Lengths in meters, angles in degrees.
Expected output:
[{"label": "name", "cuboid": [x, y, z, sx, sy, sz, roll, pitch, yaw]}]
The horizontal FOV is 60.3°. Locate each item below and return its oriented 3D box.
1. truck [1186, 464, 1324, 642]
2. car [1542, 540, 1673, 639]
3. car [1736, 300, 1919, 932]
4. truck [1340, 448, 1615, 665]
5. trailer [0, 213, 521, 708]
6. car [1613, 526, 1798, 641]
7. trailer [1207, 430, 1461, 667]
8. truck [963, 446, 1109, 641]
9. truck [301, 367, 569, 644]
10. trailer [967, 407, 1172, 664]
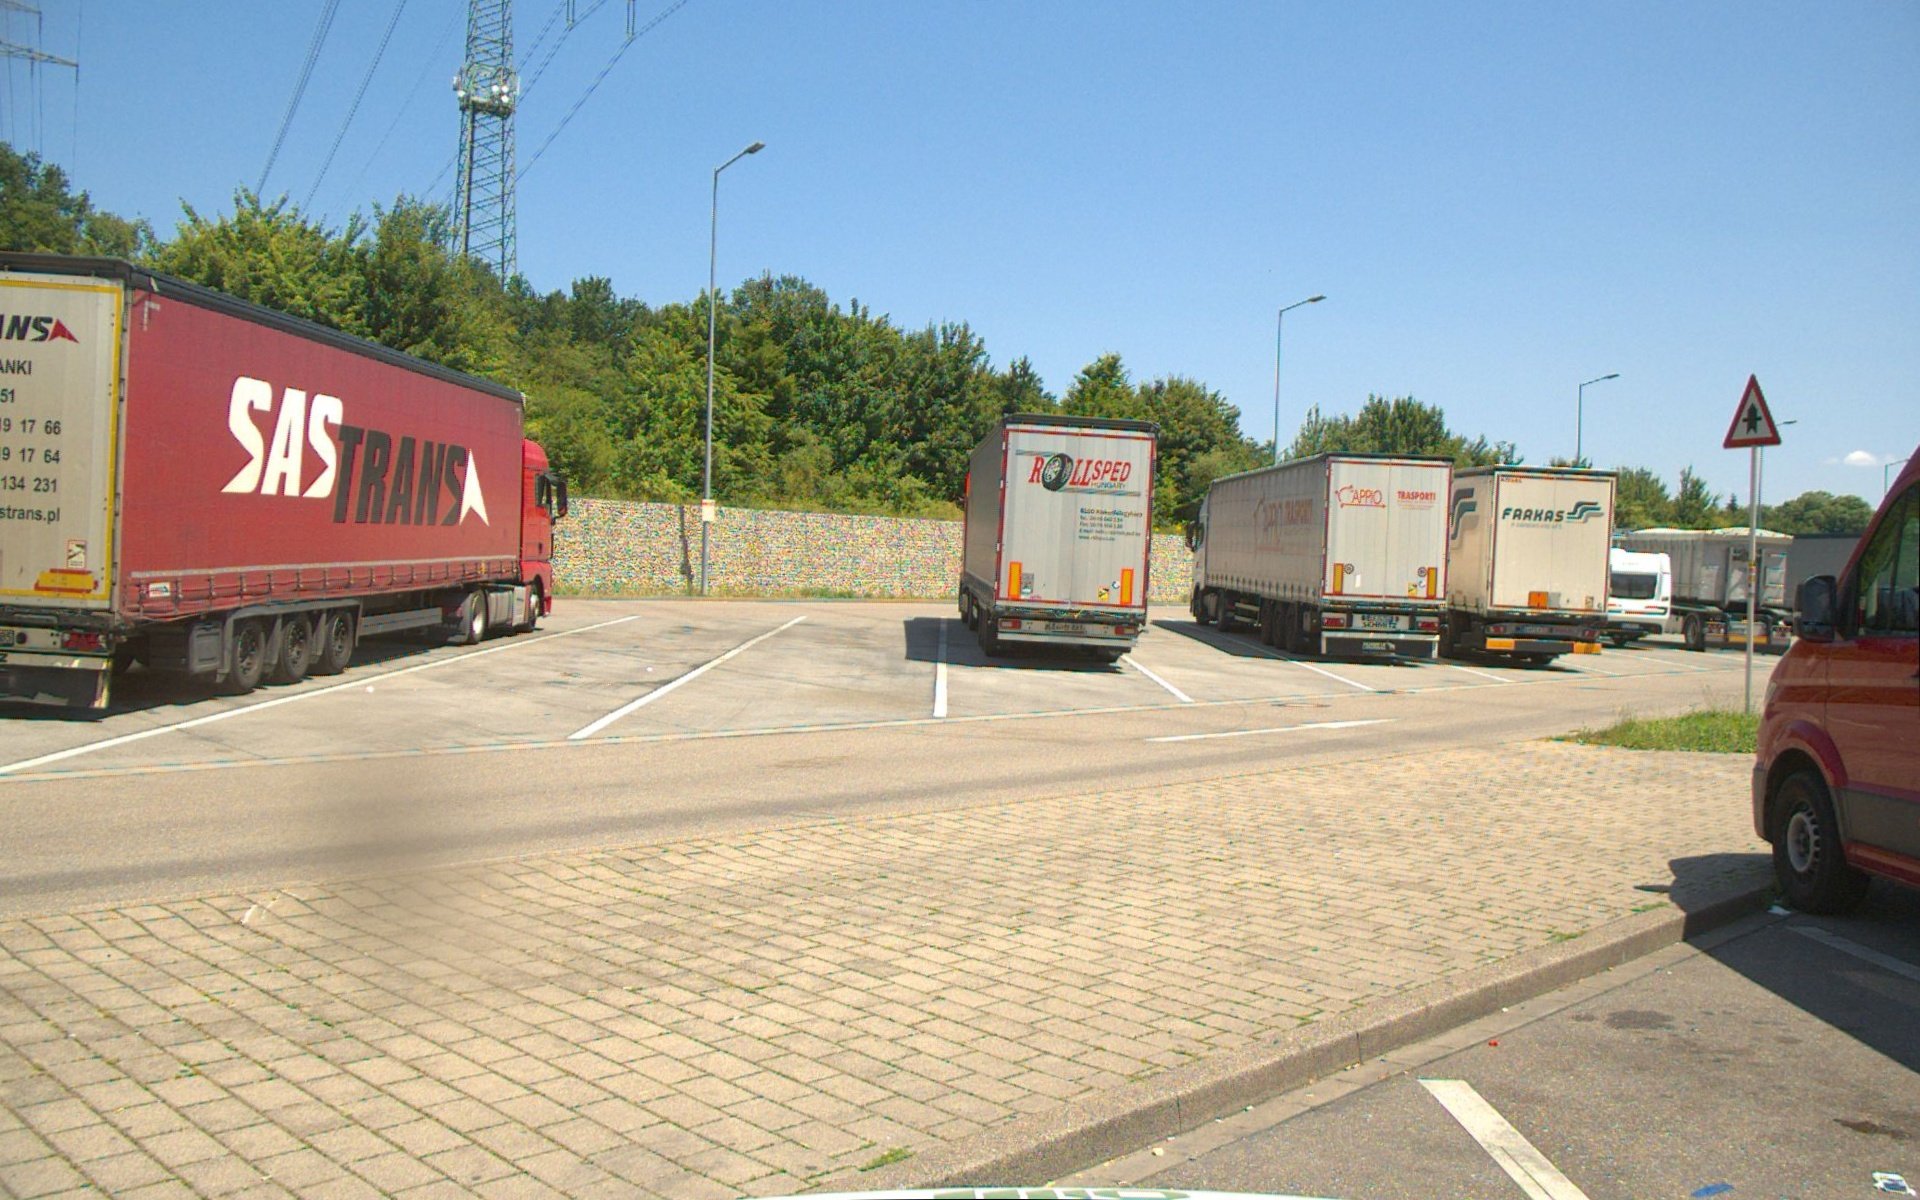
[{"label": "truck", "cuboid": [8.010, -1.263, 45.582, 2.607, 4.530, 5.863, 1, 1, -1]}, {"label": "car", "cuboid": [18.226, -0.281, 46.771, 2.072, 2.645, 3.999, 1, 0, -1]}, {"label": "car", "cuboid": [4.983, 0.102, 5.592, 1.952, 2.679, 6.385, 1, 1, 3]}, {"label": "truck", "cuboid": [11.707, -0.844, 38.977, 2.534, 4.299, 11.967, 1, 0, -1]}, {"label": "trailer", "cuboid": [-8.642, -1.346, 21.013, 2.743, 4.293, 13.200, 1, 1, -1]}, {"label": "car", "cuboid": [21.691, -0.510, 48.530, 2.449, 3.128, 6.350, 1, 1, -1]}, {"label": "trailer", "cuboid": [8.169, -1.106, 38.285, 2.627, 4.530, 12.826, 1, 1, -1]}, {"label": "truck", "cuboid": [1.599, -1.246, 37.714, 2.814, 4.050, 6.027, 1, 1, -2]}, {"label": "truck", "cuboid": [-8.731, -1.498, 28.269, 2.749, 4.205, 5.893, 1, 1, -1]}, {"label": "trailer", "cuboid": [1.776, -1.133, 32.152, 2.839, 4.083, 11.313, 1, 1, -2]}]
